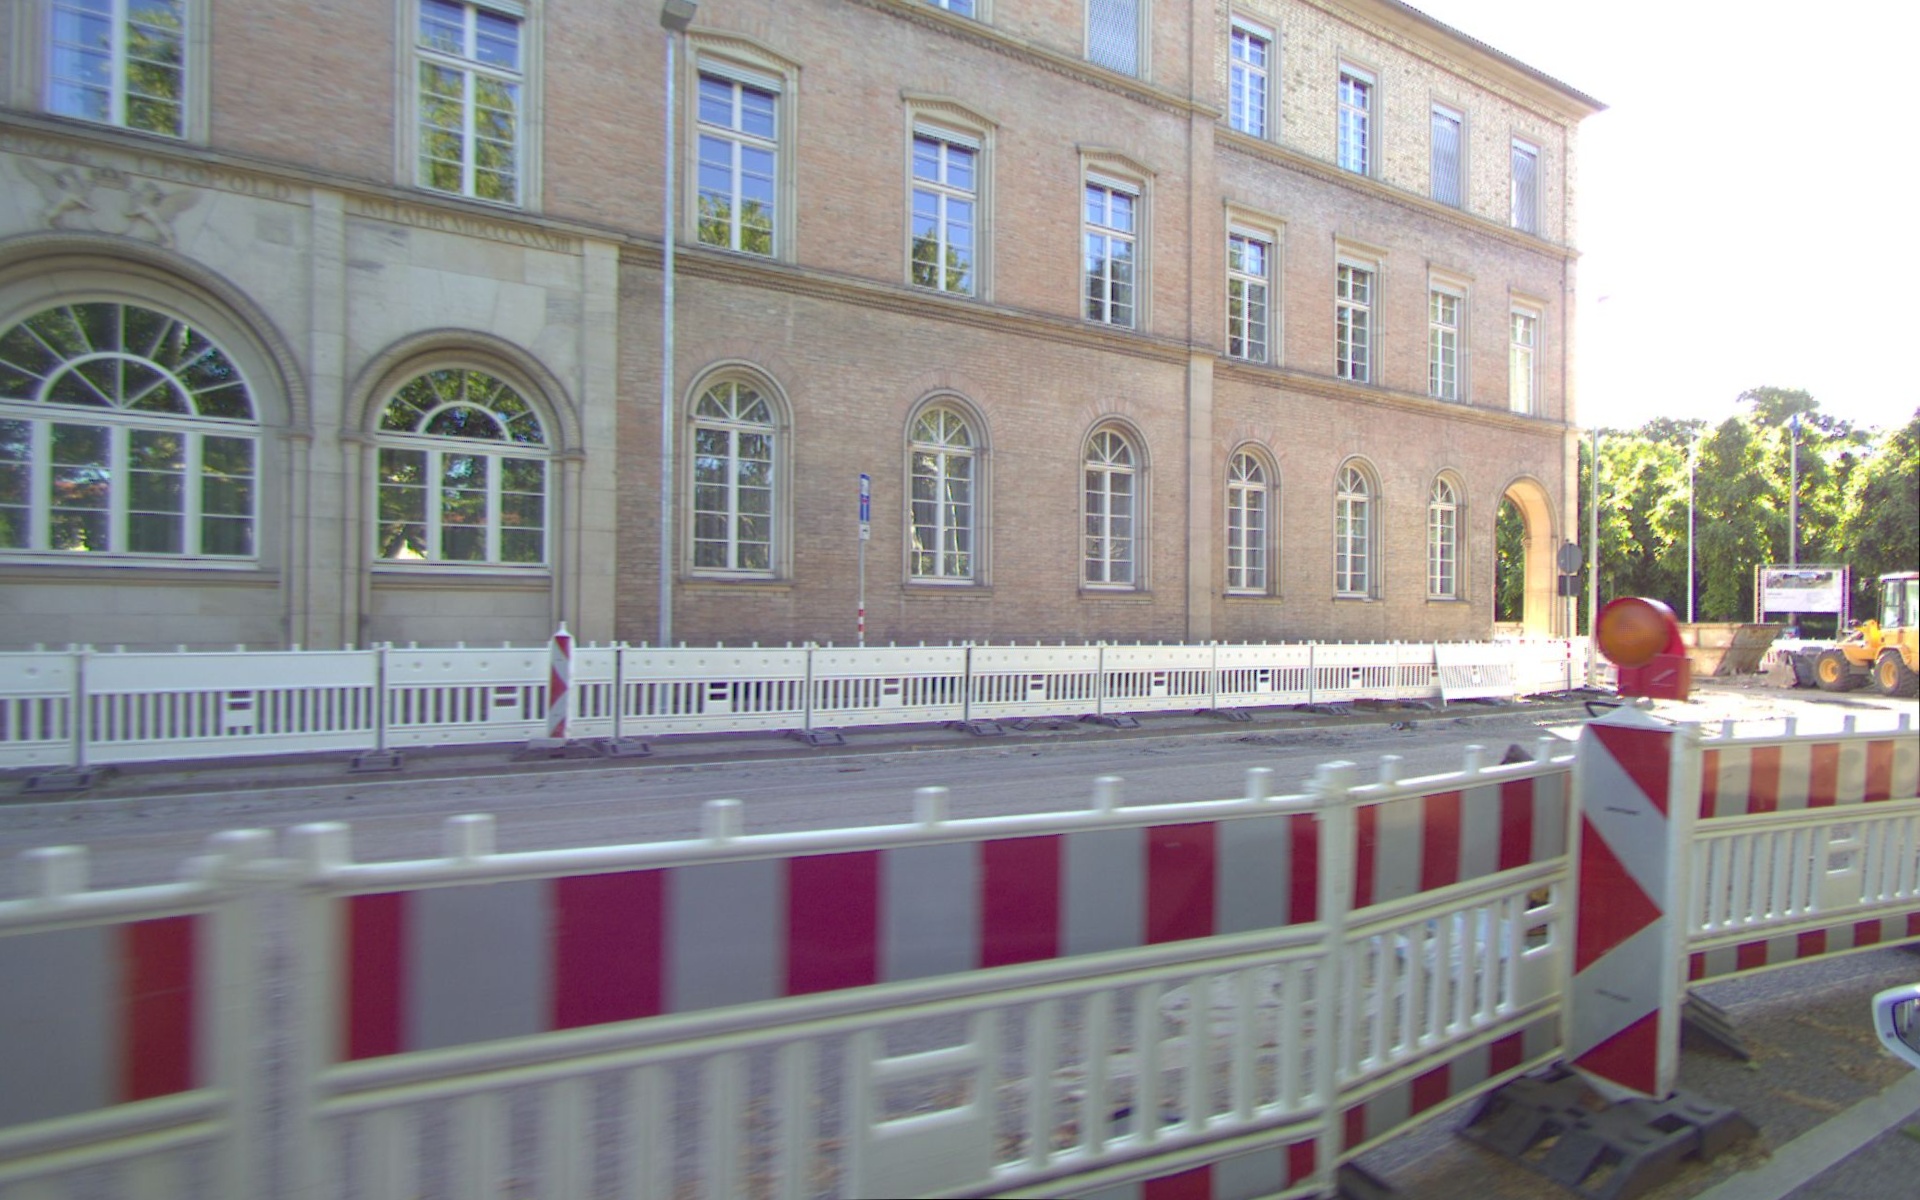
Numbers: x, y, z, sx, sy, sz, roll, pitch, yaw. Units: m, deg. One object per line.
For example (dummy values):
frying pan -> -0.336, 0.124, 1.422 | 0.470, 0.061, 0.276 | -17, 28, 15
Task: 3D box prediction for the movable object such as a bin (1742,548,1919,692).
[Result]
movable object such as a bin -> 21.874, 0.511, 24.178 | 2.515, 3.071, 5.935 | -1, -2, 13
